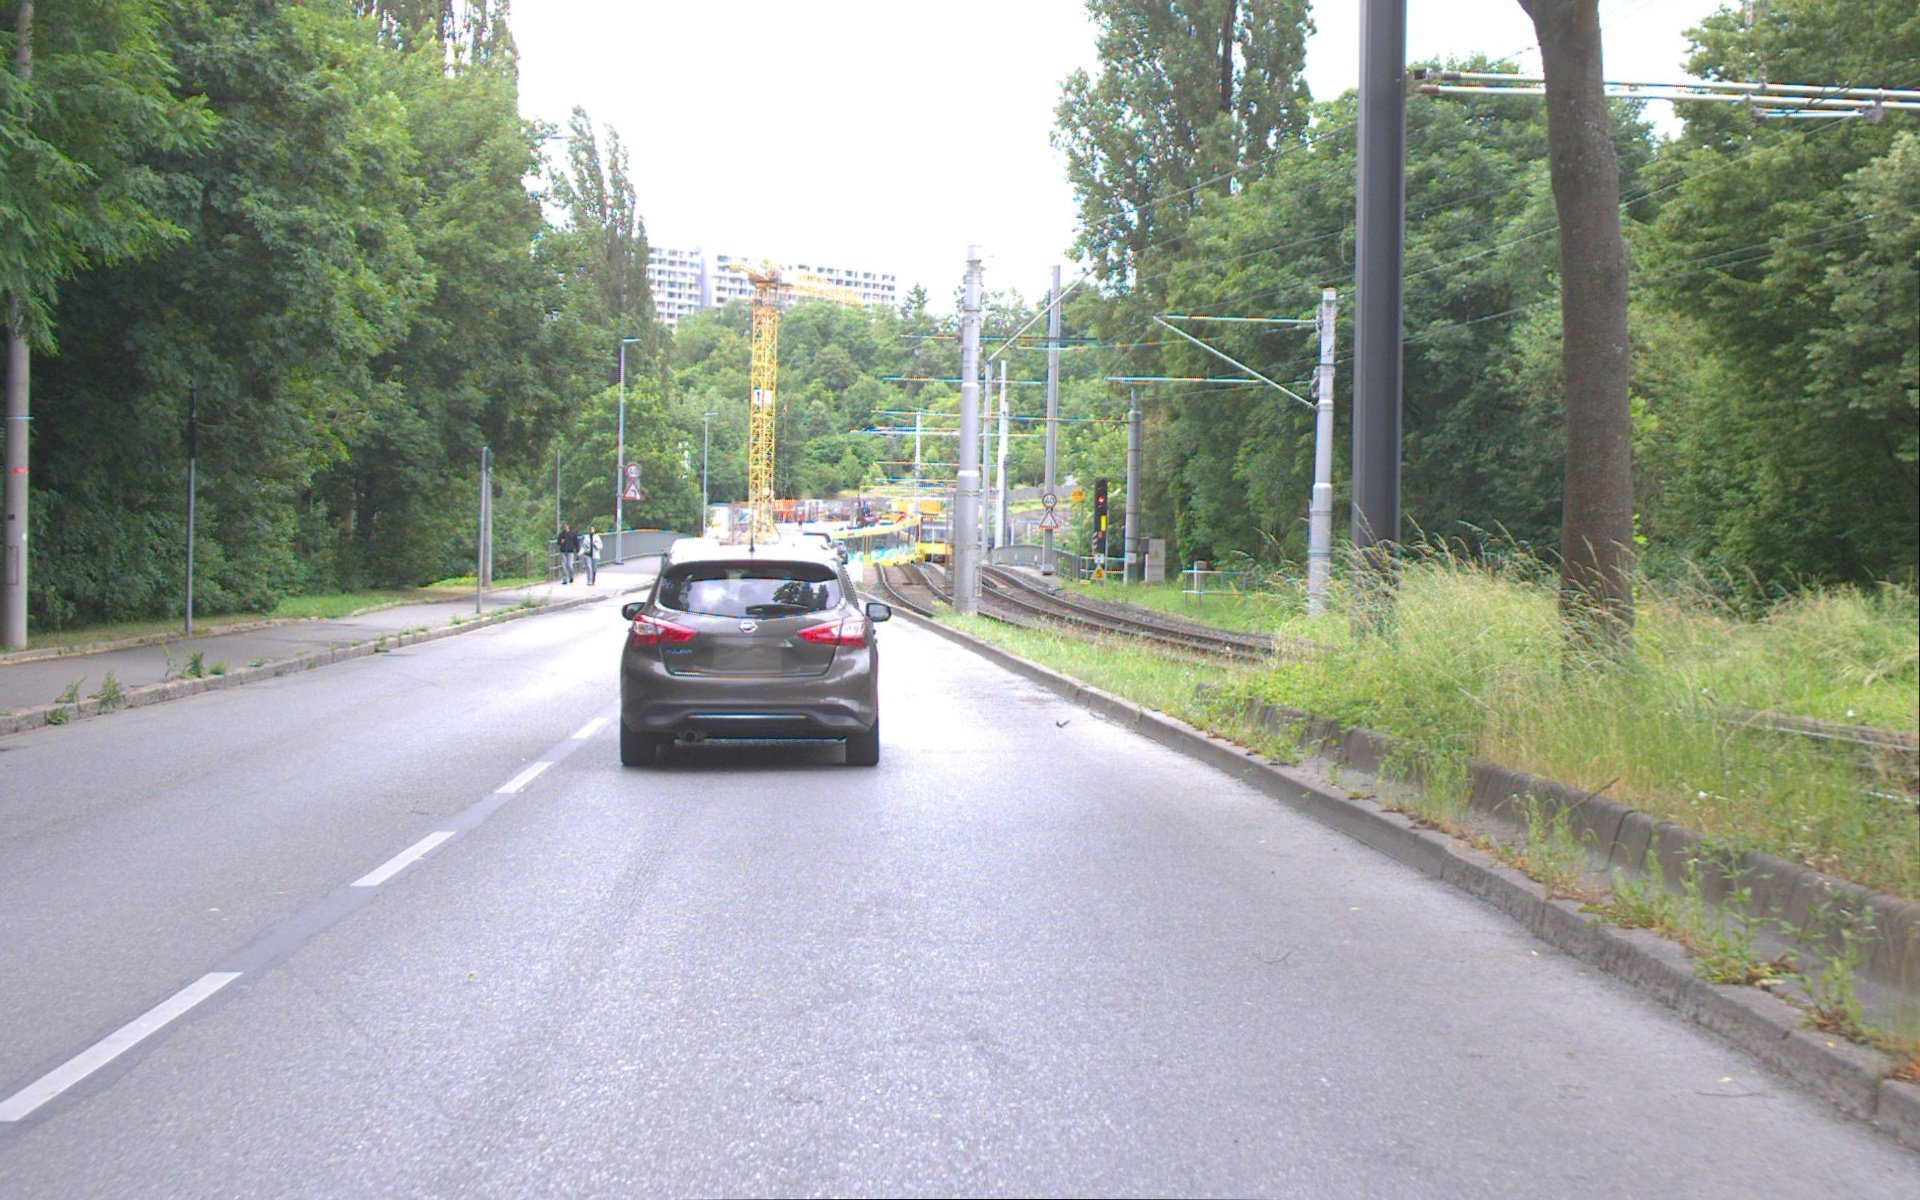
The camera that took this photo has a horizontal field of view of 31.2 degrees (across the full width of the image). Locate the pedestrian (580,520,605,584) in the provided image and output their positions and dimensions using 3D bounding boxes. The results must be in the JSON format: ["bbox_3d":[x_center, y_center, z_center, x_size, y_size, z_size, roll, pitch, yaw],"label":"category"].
[{"bbox_3d":[-10.489,-1.374,98.127,0.551,1.759,0.858,5,0,-3],"label":"pedestrian"}]

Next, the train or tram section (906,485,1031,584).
[{"bbox_3d":[0.330,-3.857,211.498,3.027,5.165,23.060,3,-1,-11],"label":"train or tram section"}]

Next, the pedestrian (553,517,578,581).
[{"bbox_3d":[-11.223,-1.442,97.855,0.587,1.797,0.822,2,1,-3],"label":"pedestrian"}]

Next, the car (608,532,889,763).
[{"bbox_3d":[-1.562,0.292,24.683,1.829,1.505,4.001,1,1,-5],"label":"car"}]
